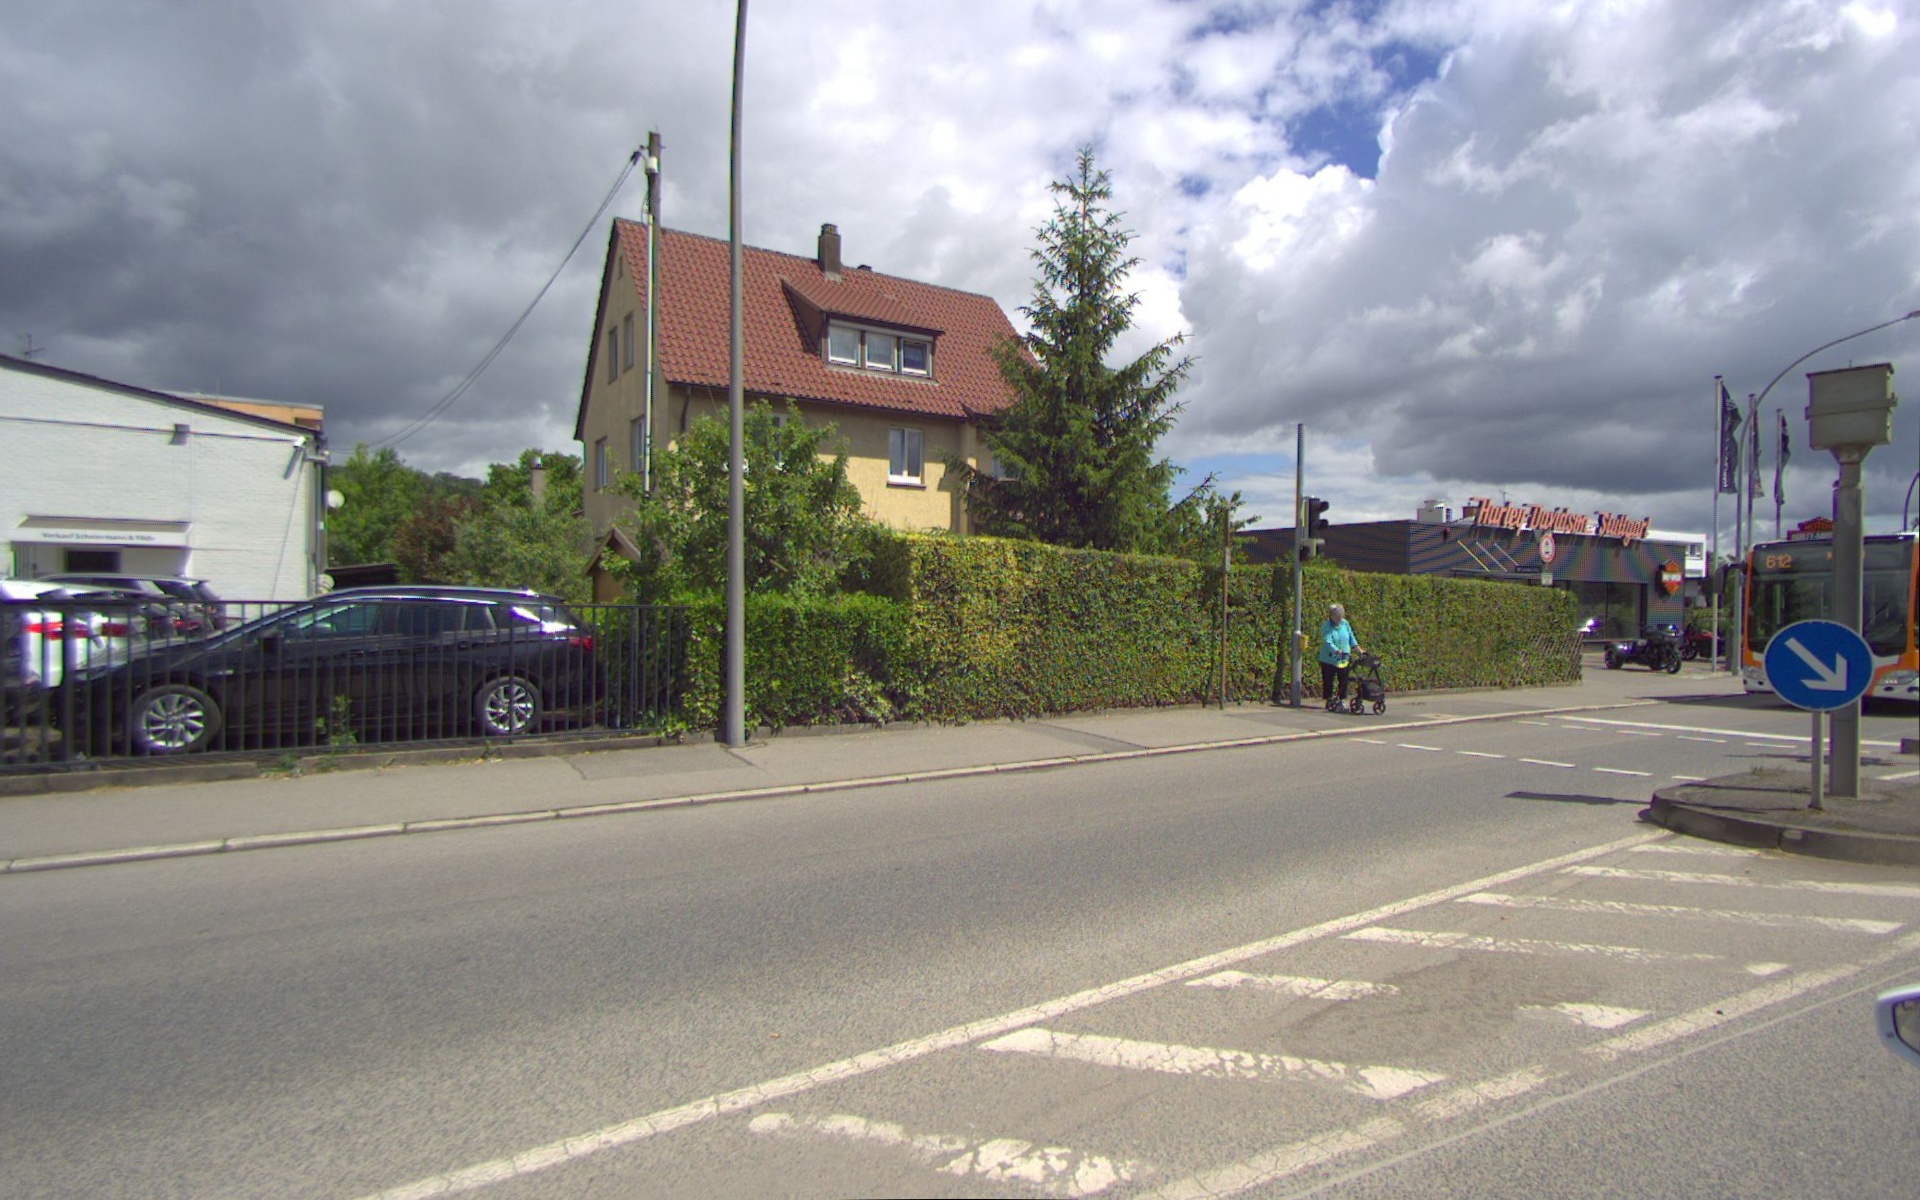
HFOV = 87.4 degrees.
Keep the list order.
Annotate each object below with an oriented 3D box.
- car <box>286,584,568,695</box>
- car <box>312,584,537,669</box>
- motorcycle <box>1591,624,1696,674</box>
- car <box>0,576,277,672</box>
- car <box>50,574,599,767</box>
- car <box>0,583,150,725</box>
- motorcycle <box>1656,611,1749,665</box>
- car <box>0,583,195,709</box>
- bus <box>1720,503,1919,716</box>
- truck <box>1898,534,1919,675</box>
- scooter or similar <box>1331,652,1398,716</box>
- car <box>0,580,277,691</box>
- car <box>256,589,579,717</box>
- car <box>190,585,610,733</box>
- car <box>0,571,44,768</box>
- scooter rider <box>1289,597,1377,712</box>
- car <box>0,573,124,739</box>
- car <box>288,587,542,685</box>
[{"bbox_3d":[-8.793,0.620,16.695,3.959,1.639,1.765,1,-1,-34],"label":"car"},{"bbox_3d":[-11.253,0.553,21.213,3.963,1.639,1.763,1,-1,-37],"label":"car"},{"bbox_3d":[18.670,1.317,27.523,0.909,1.234,2.504,2,0,-8],"label":"motorcycle"},{"bbox_3d":[-15.334,0.443,18.956,3.963,1.639,1.763,1,-1,-37],"label":"car"},{"bbox_3d":[-6.055,0.596,10.051,4.224,1.527,2.140,1,-1,-35],"label":"car"},{"bbox_3d":[-12.155,0.619,11.844,3.963,1.639,1.763,1,-1,-37],"label":"car"},{"bbox_3d":[24.836,1.248,33.624,1.032,1.705,2.285,1,0,-38],"label":"motorcycle"},{"bbox_3d":[-13.035,0.606,13.810,3.963,1.639,1.763,1,-1,-37],"label":"car"},{"bbox_3d":[19.610,0.313,19.696,11.971,3.309,2.767,1,-2,-28],"label":"bus"},{"bbox_3d":[32.439,0.250,31.860,9.068,4.186,2.410,1,1,-38],"label":"truck"},{"bbox_3d":[5.781,1.190,14.360,0.652,0.843,0.608,1,1,-31],"label":"scooter or similar"},{"bbox_3d":[-13.568,0.548,16.366,3.963,1.639,1.763,1,-1,-37],"label":"car"},{"bbox_3d":[-7.849,0.711,14.705,3.959,1.639,1.765,1,-1,-34],"label":"car"},{"bbox_3d":[-6.772,0.640,12.426,4.224,1.527,2.140,1,-1,-35],"label":"car"},{"bbox_3d":[-9.998,0.549,7.612,4.241,1.616,2.019,1,-1,-35],"label":"car"},{"bbox_3d":[5.511,0.779,14.874,0.787,1.611,0.873,1,2,-31],"label":"scooter rider"},{"bbox_3d":[-10.912,0.541,9.918,3.963,1.639,1.763,1,-1,-37],"label":"car"},{"bbox_3d":[-10.102,0.644,18.740,3.963,1.639,1.763,1,-1,-37],"label":"car"}]
